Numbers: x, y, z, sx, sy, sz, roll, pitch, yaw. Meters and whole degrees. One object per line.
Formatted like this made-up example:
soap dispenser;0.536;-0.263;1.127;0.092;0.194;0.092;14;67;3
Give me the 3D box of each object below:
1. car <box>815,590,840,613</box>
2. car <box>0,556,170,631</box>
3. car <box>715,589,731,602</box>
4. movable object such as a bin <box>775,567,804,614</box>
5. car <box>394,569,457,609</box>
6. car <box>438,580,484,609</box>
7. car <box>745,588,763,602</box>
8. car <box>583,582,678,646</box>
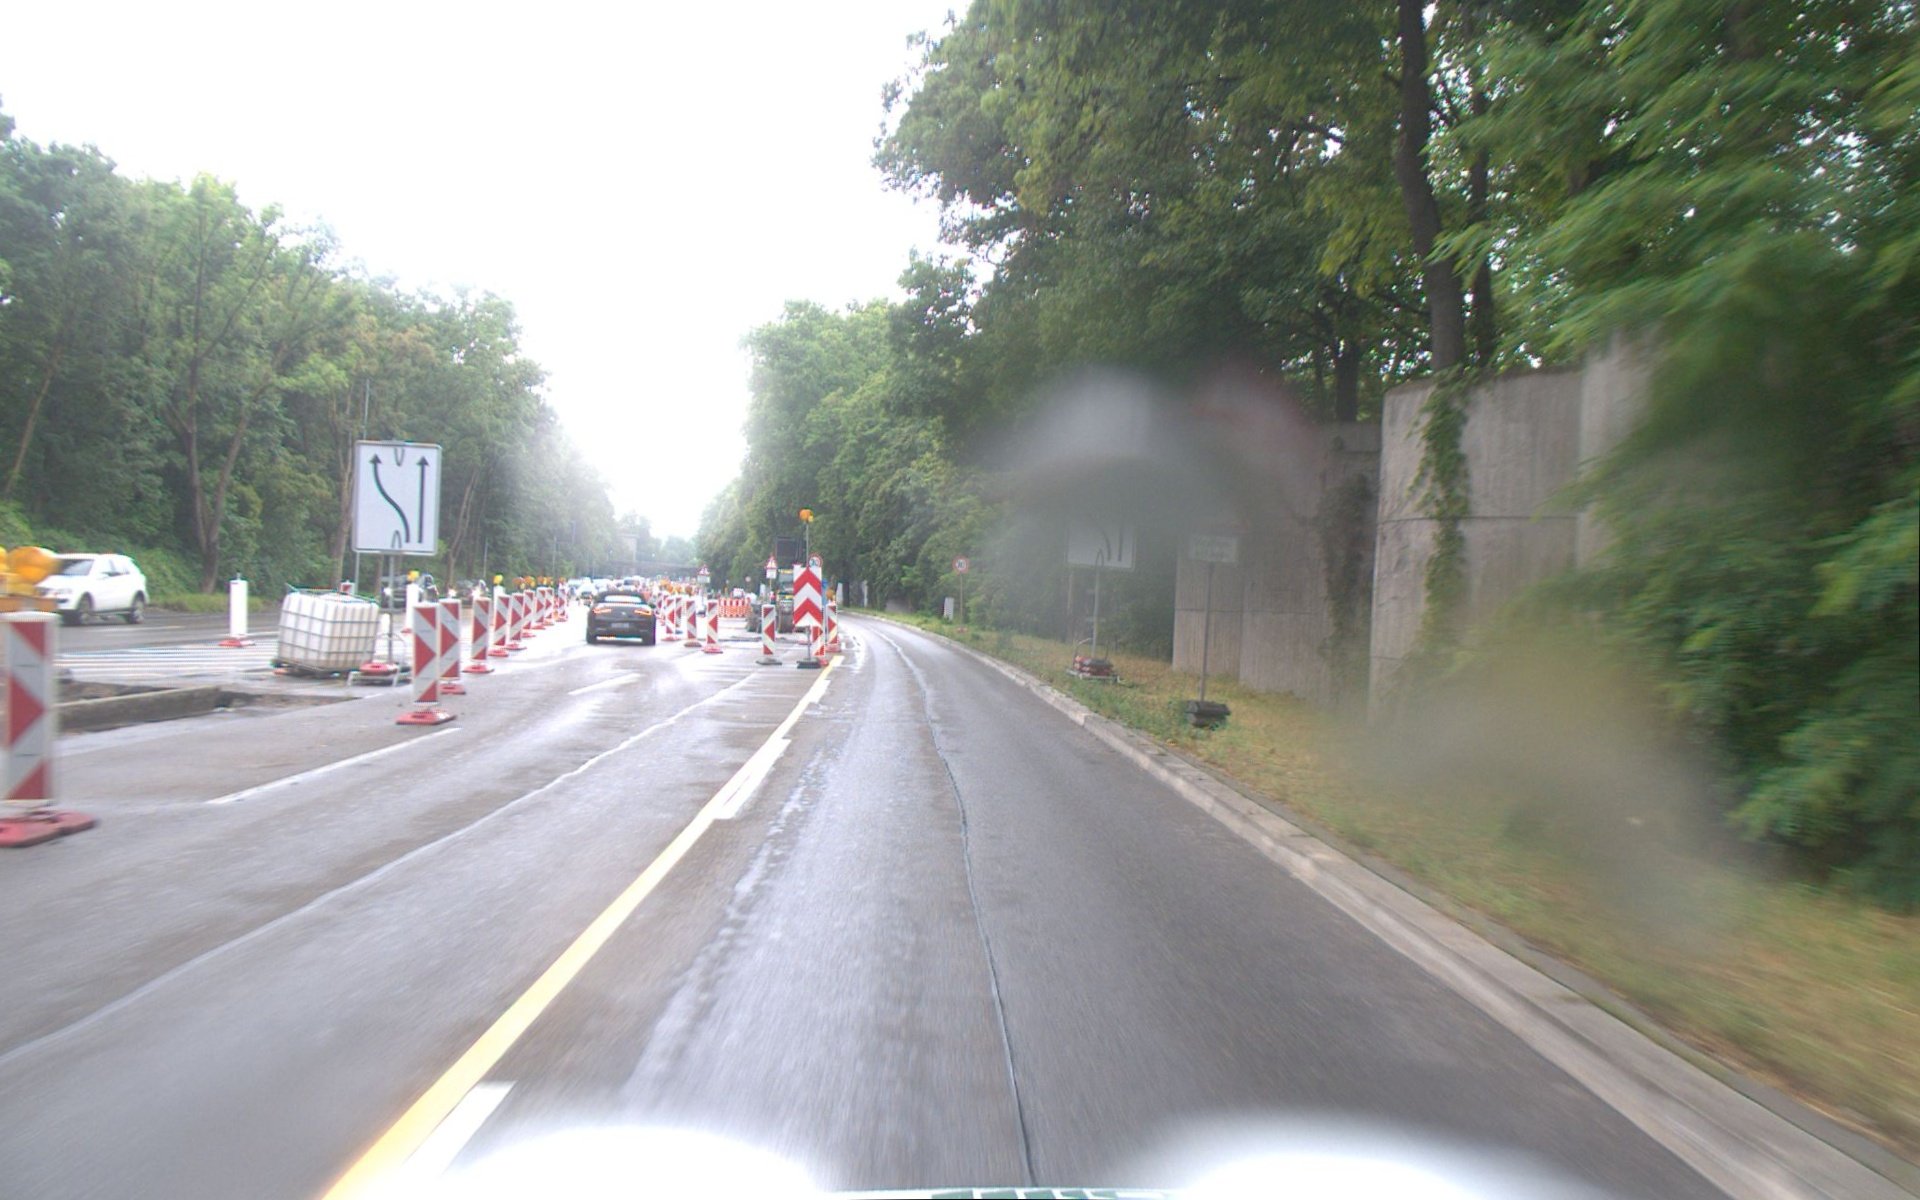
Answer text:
car;-10.312;0.072;128.535;1.877;1.625;4.829;3;1;-5
car;-22.009;-0.176;41.811;1.807;1.753;4.719;-1;0;-1
car;-31.845;-0.615;222.130;1.839;1.645;3.996;5;0;-5
movable object such as a bin;-10.907;-0.627;105.645;1.713;2.917;3.529;1;0;-7
car;-23.881;-0.500;74.060;1.603;1.676;4.197;1;0;-3
car;-26.236;-0.294;87.048;1.495;1.483;3.537;0;0;-3
car;-23.749;-0.617;190.421;1.725;1.367;3.991;3;1;-10
car;-8.965;0.350;45.303;1.825;1.517;3.999;4;1;-2
